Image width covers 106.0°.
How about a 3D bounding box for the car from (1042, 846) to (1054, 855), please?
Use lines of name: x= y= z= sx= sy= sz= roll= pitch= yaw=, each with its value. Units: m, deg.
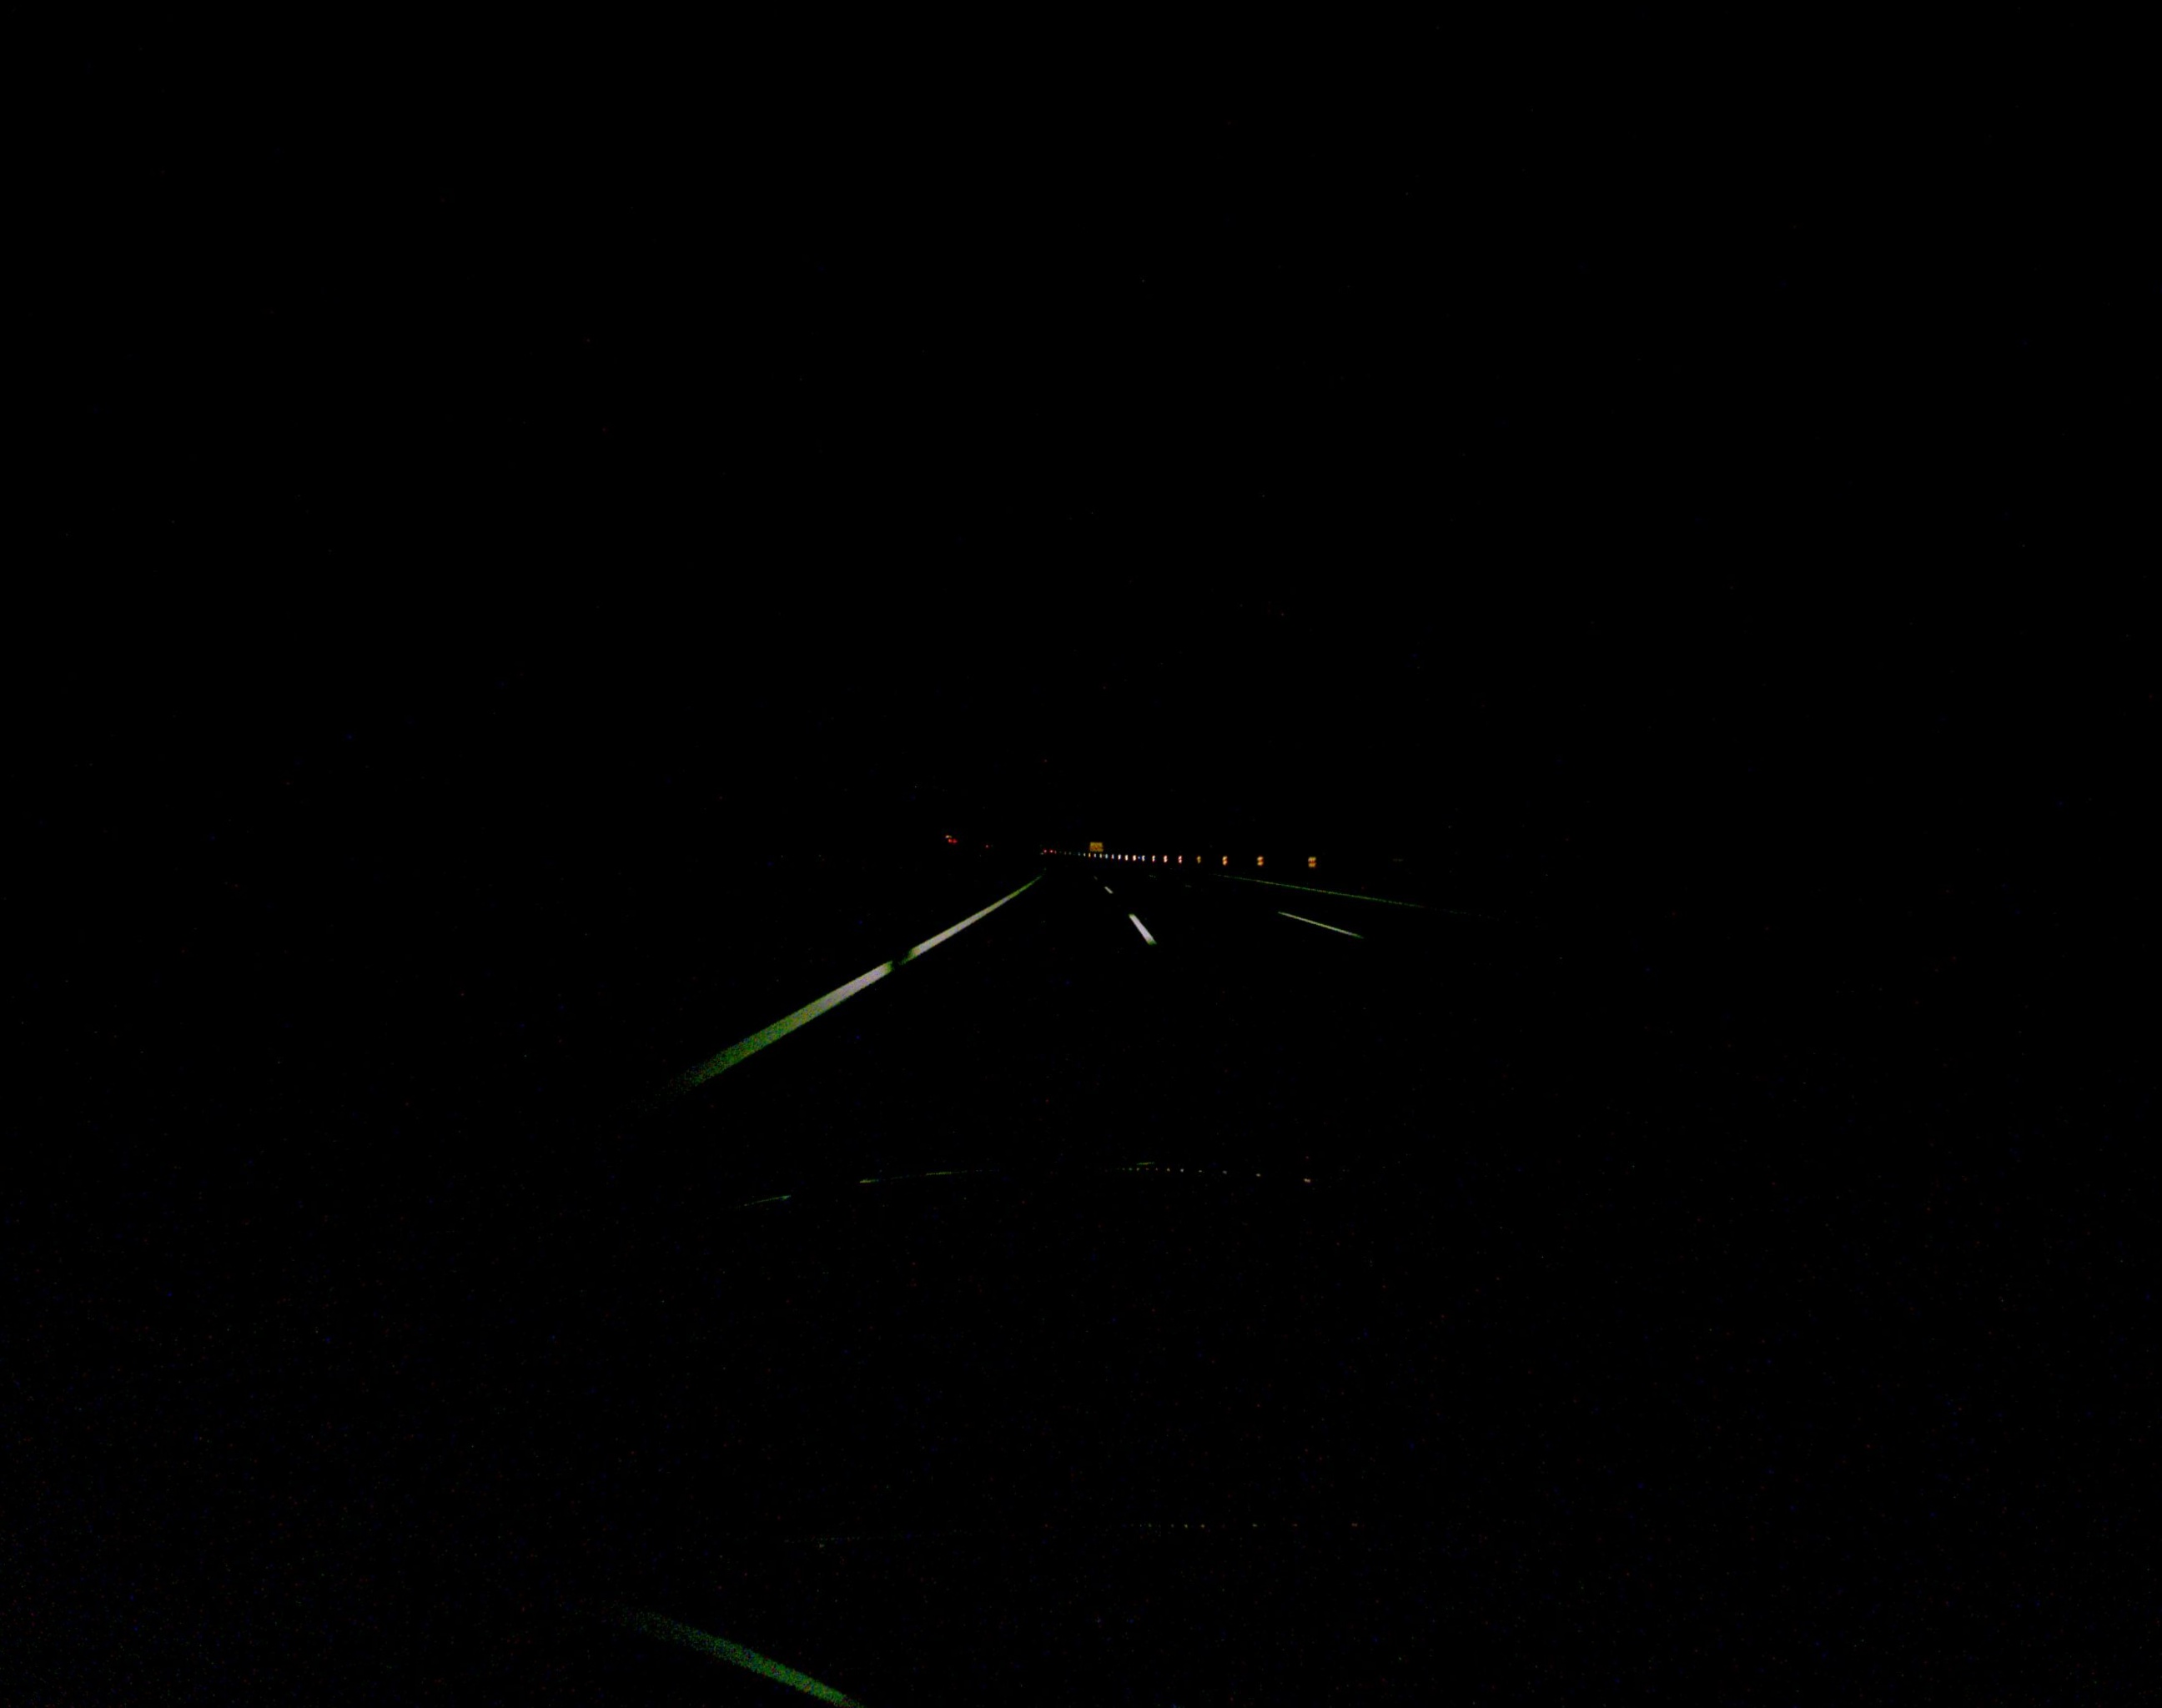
car: x=-10.084 y=-1.017 z=248.524 sx=2.529 sy=2.553 sz=6.027 roll=1 pitch=1 yaw=-12
